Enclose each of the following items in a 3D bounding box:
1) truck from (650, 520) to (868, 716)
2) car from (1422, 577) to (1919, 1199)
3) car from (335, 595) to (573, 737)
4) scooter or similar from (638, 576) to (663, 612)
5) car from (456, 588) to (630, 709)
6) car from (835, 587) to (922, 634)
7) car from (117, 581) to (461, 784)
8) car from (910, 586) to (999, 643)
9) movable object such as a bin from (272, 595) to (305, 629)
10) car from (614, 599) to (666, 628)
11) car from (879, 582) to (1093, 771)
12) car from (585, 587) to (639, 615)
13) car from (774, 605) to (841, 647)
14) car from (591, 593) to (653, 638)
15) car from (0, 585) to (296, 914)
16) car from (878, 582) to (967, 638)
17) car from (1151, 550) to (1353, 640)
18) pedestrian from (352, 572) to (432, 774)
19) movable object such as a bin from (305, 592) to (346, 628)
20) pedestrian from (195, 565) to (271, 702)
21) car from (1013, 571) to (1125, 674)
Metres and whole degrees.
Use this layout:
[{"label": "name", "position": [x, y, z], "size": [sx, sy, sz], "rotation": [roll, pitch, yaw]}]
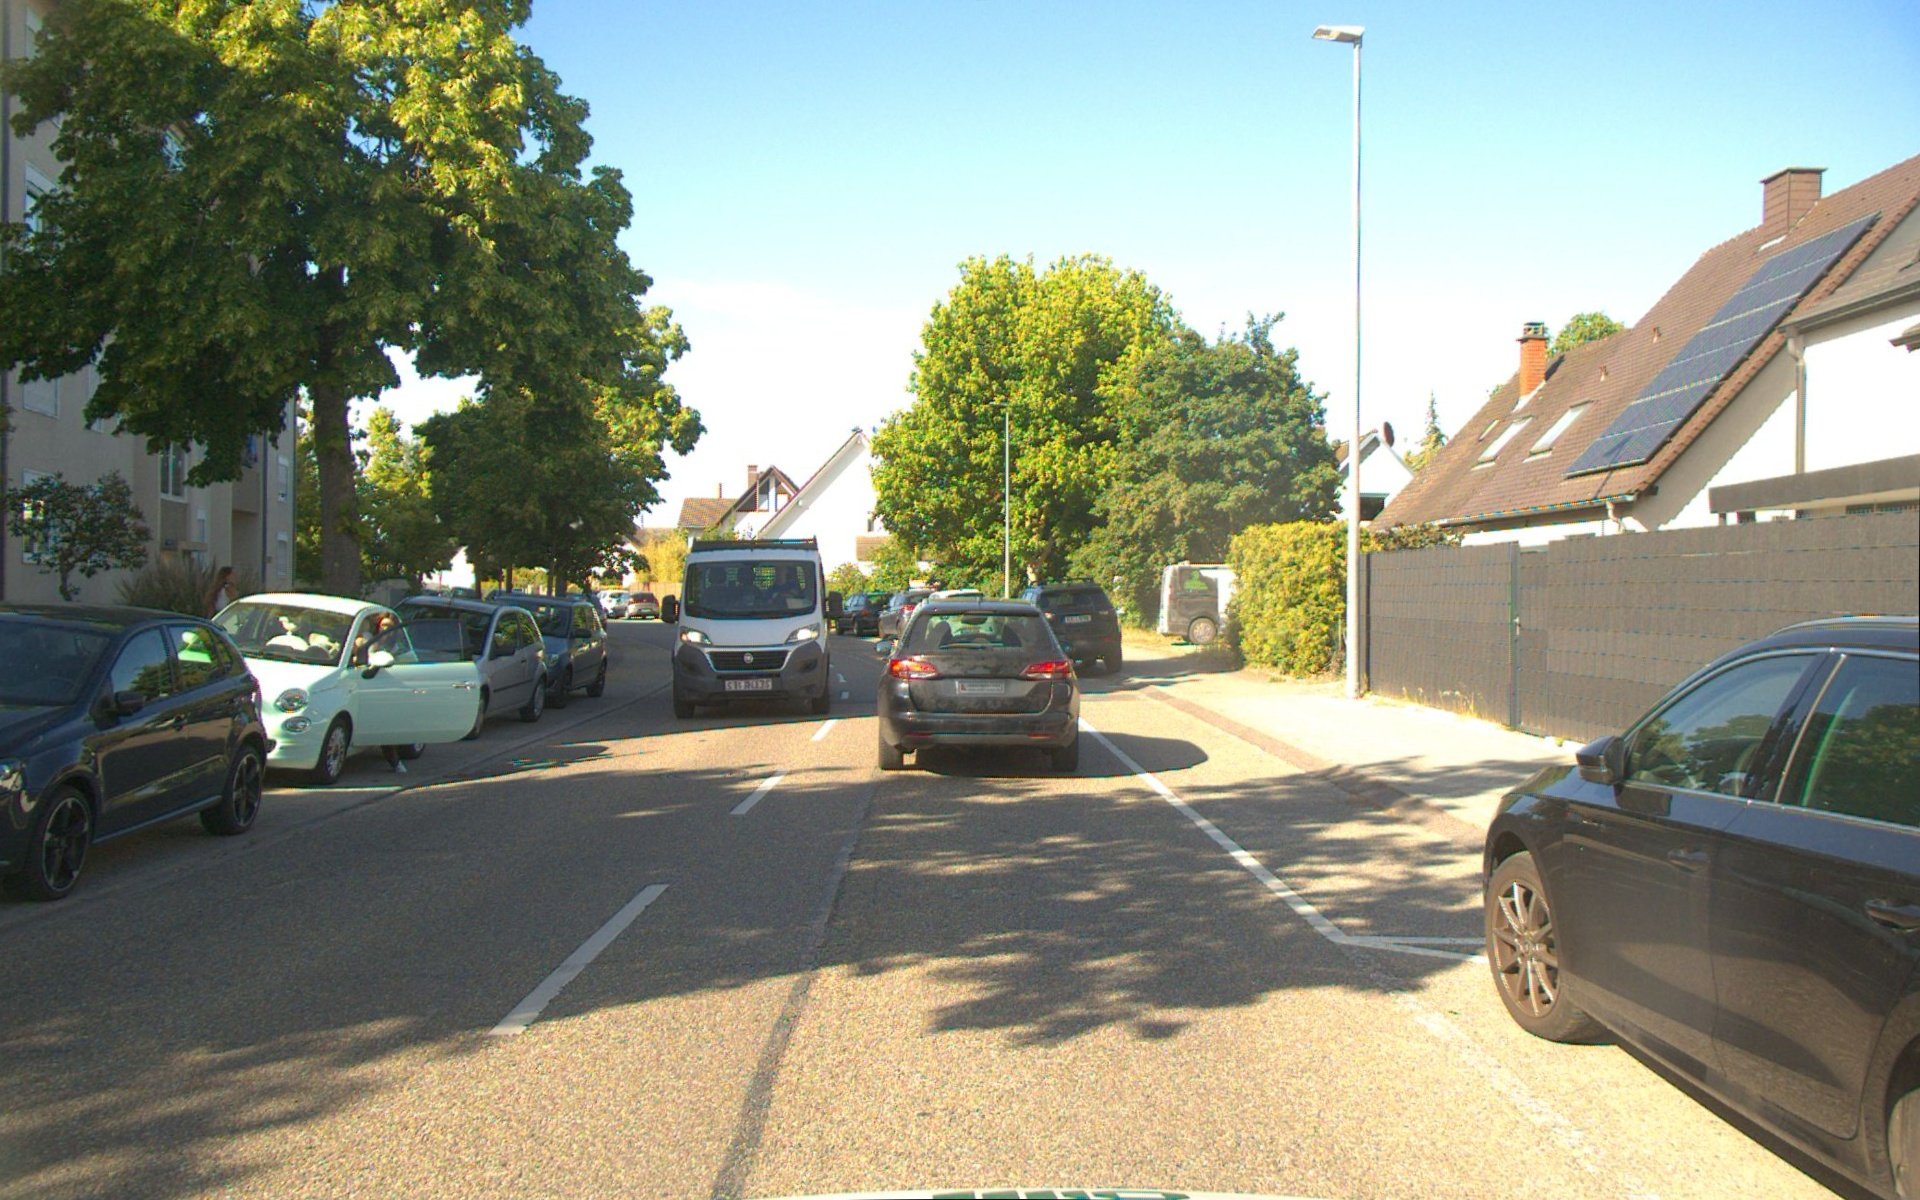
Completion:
[{"label": "truck", "position": [-2.691, 0.203, 23.910], "size": [2.085, 2.375, 6.444], "rotation": [-2, 0, 2]}, {"label": "car", "position": [2.790, 0.736, 4.239], "size": [1.729, 1.506, 4.991], "rotation": [-2, 1, -1]}, {"label": "car", "position": [-5.999, 0.719, 20.075], "size": [1.623, 1.536, 4.000], "rotation": [0, 0, 0]}, {"label": "scooter or similar", "position": [-18.275, -0.341, 97.567], "size": [0.677, 2.049, 2.937], "rotation": [-1, -2, -25]}, {"label": "car", "position": [-6.111, 0.652, 24.640], "size": [1.536, 1.556, 3.918], "rotation": [3, 1, 0]}, {"label": "car", "position": [-2.851, 0.370, 56.836], "size": [1.974, 1.501, 4.274], "rotation": [-2, 0, -17]}, {"label": "car", "position": [-5.995, 0.698, 15.296], "size": [1.667, 1.549, 4.049], "rotation": [-2, -1, -3]}, {"label": "car", "position": [-0.201, 0.407, 47.113], "size": [1.729, 1.506, 4.282], "rotation": [-2, 0, -11]}, {"label": "movable object such as a bin", "position": [-28.115, 0.515, 69.261], "size": [1.154, 1.344, 1.082], "rotation": [-1, -2, -17]}, {"label": "car", "position": [-17.032, 0.713, 87.895], "size": [1.890, 1.432, 4.265], "rotation": [-2, 0, -22]}, {"label": "car", "position": [0.165, 0.615, 15.469], "size": [1.726, 1.517, 4.290], "rotation": [0, 0, -1]}, {"label": "car", "position": [-19.724, 0.070, 93.640], "size": [1.895, 1.432, 4.254], "rotation": [-2, 0, -28]}, {"label": "car", "position": [-6.089, 1.021, 65.626], "size": [1.792, 1.561, 4.237], "rotation": [-2, 0, -18]}, {"label": "car", "position": [-11.795, 0.529, 57.554], "size": [1.662, 1.517, 4.269], "rotation": [0, 0, -18]}, {"label": "car", "position": [-5.360, 0.714, 9.528], "size": [1.667, 1.506, 4.048], "rotation": [1, -1, -4]}, {"label": "car", "position": [-1.225, 0.318, 51.618], "size": [1.879, 1.628, 4.278], "rotation": [-2, 0, -14]}, {"label": "car", "position": [7.188, -0.123, 41.089], "size": [4.586, 2.018, 2.142], "rotation": [-2, 0, -2]}, {"label": "pedestrian", "position": [-5.190, 0.658, 15.140], "size": [0.494, 1.792, 0.694], "rotation": [-2, -2, -5]}, {"label": "movable object such as a bin", "position": [-26.722, 0.443, 69.684], "size": [1.494, 1.452, 1.082], "rotation": [-1, -2, -18]}, {"label": "pedestrian", "position": [-9.560, 0.445, 21.765], "size": [0.671, 1.748, 0.720], "rotation": [-2, -2, -2]}, {"label": "car", "position": [1.993, 0.392, 31.328], "size": [1.742, 1.754, 4.293], "rotation": [-2, 0, -1]}]
